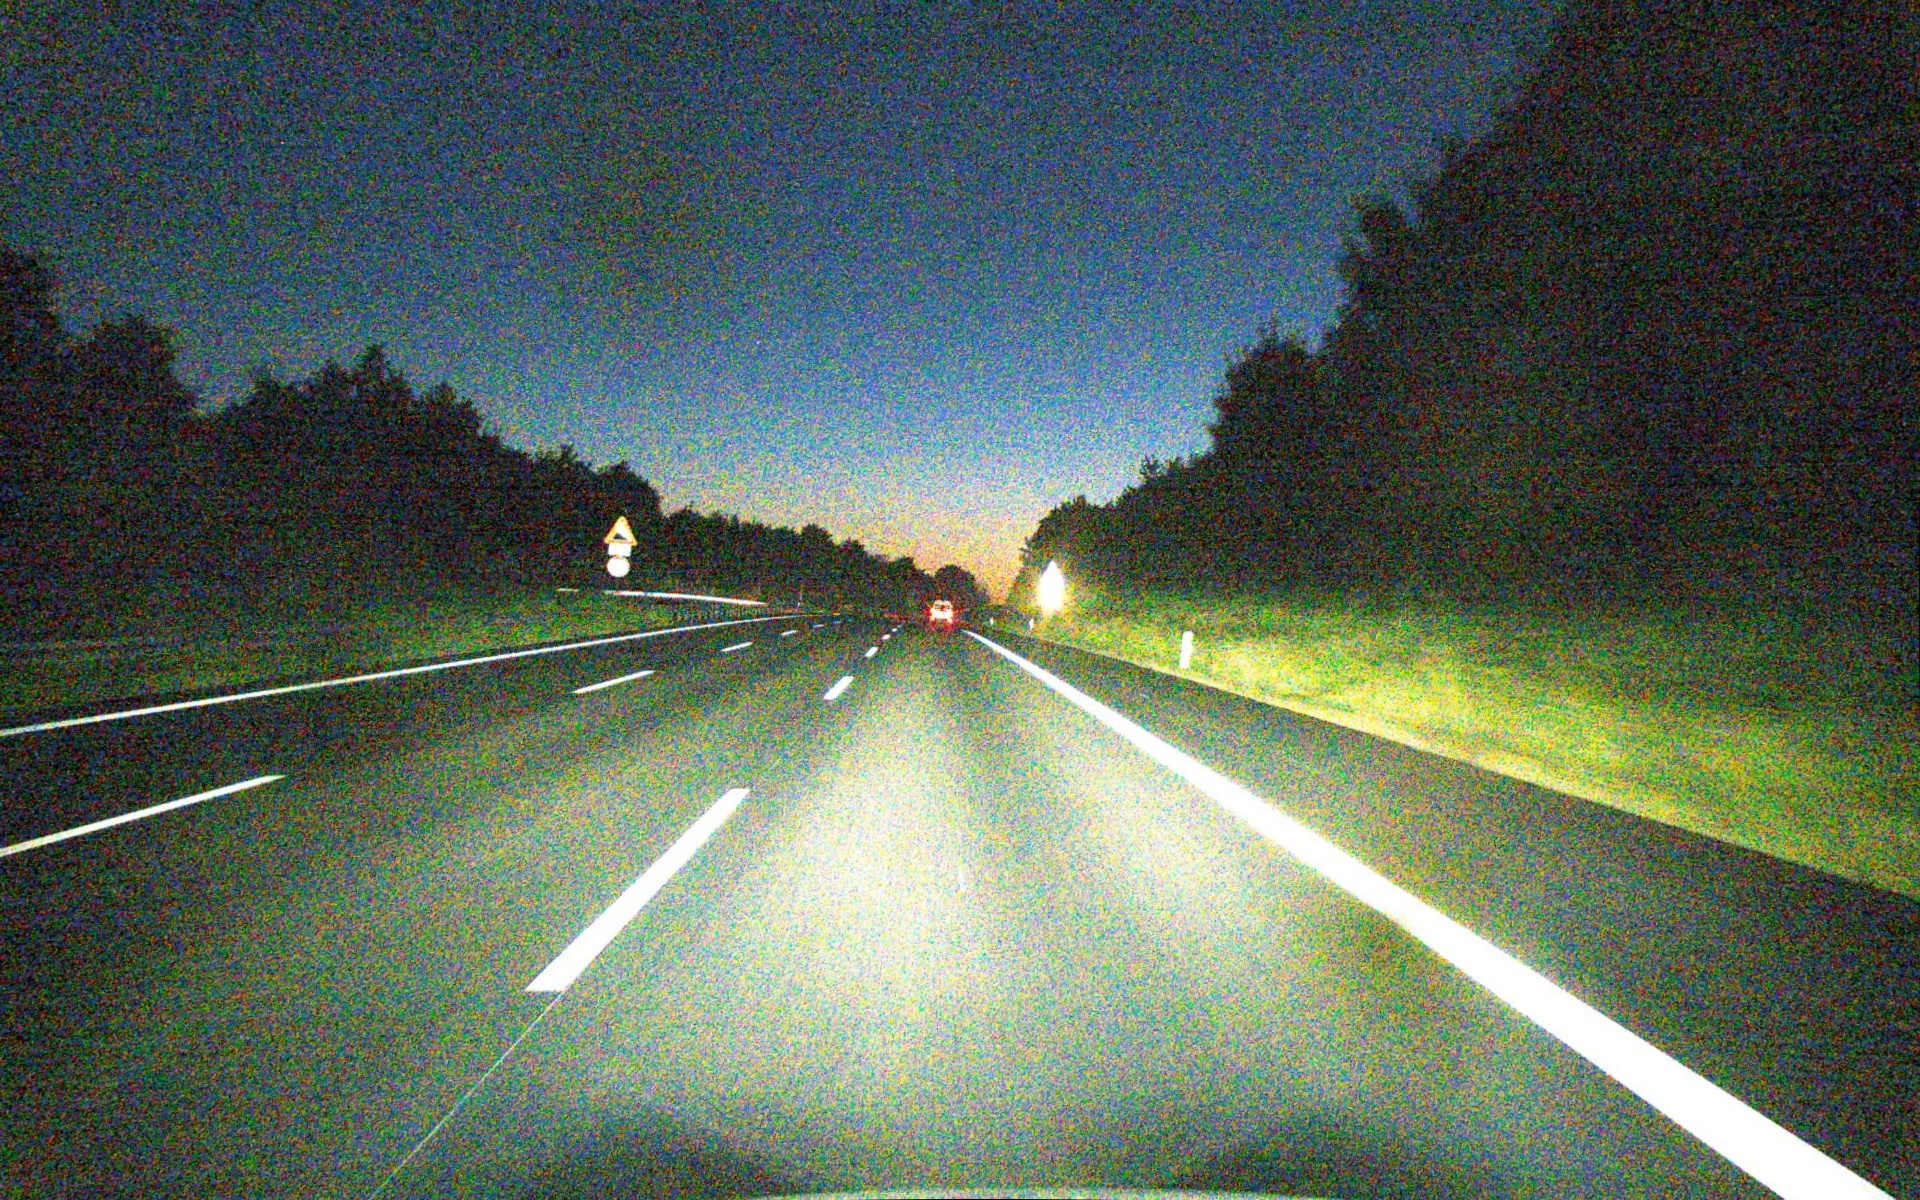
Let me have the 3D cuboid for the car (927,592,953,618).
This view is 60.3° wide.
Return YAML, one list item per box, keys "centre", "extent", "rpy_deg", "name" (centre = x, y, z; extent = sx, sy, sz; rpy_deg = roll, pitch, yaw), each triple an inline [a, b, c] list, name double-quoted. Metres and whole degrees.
- centre: [-2.125, 0.525, 176.921]
  extent: [2.476, 2.598, 6.051]
  rpy_deg: [2, 0, 1]
  name: "car"
